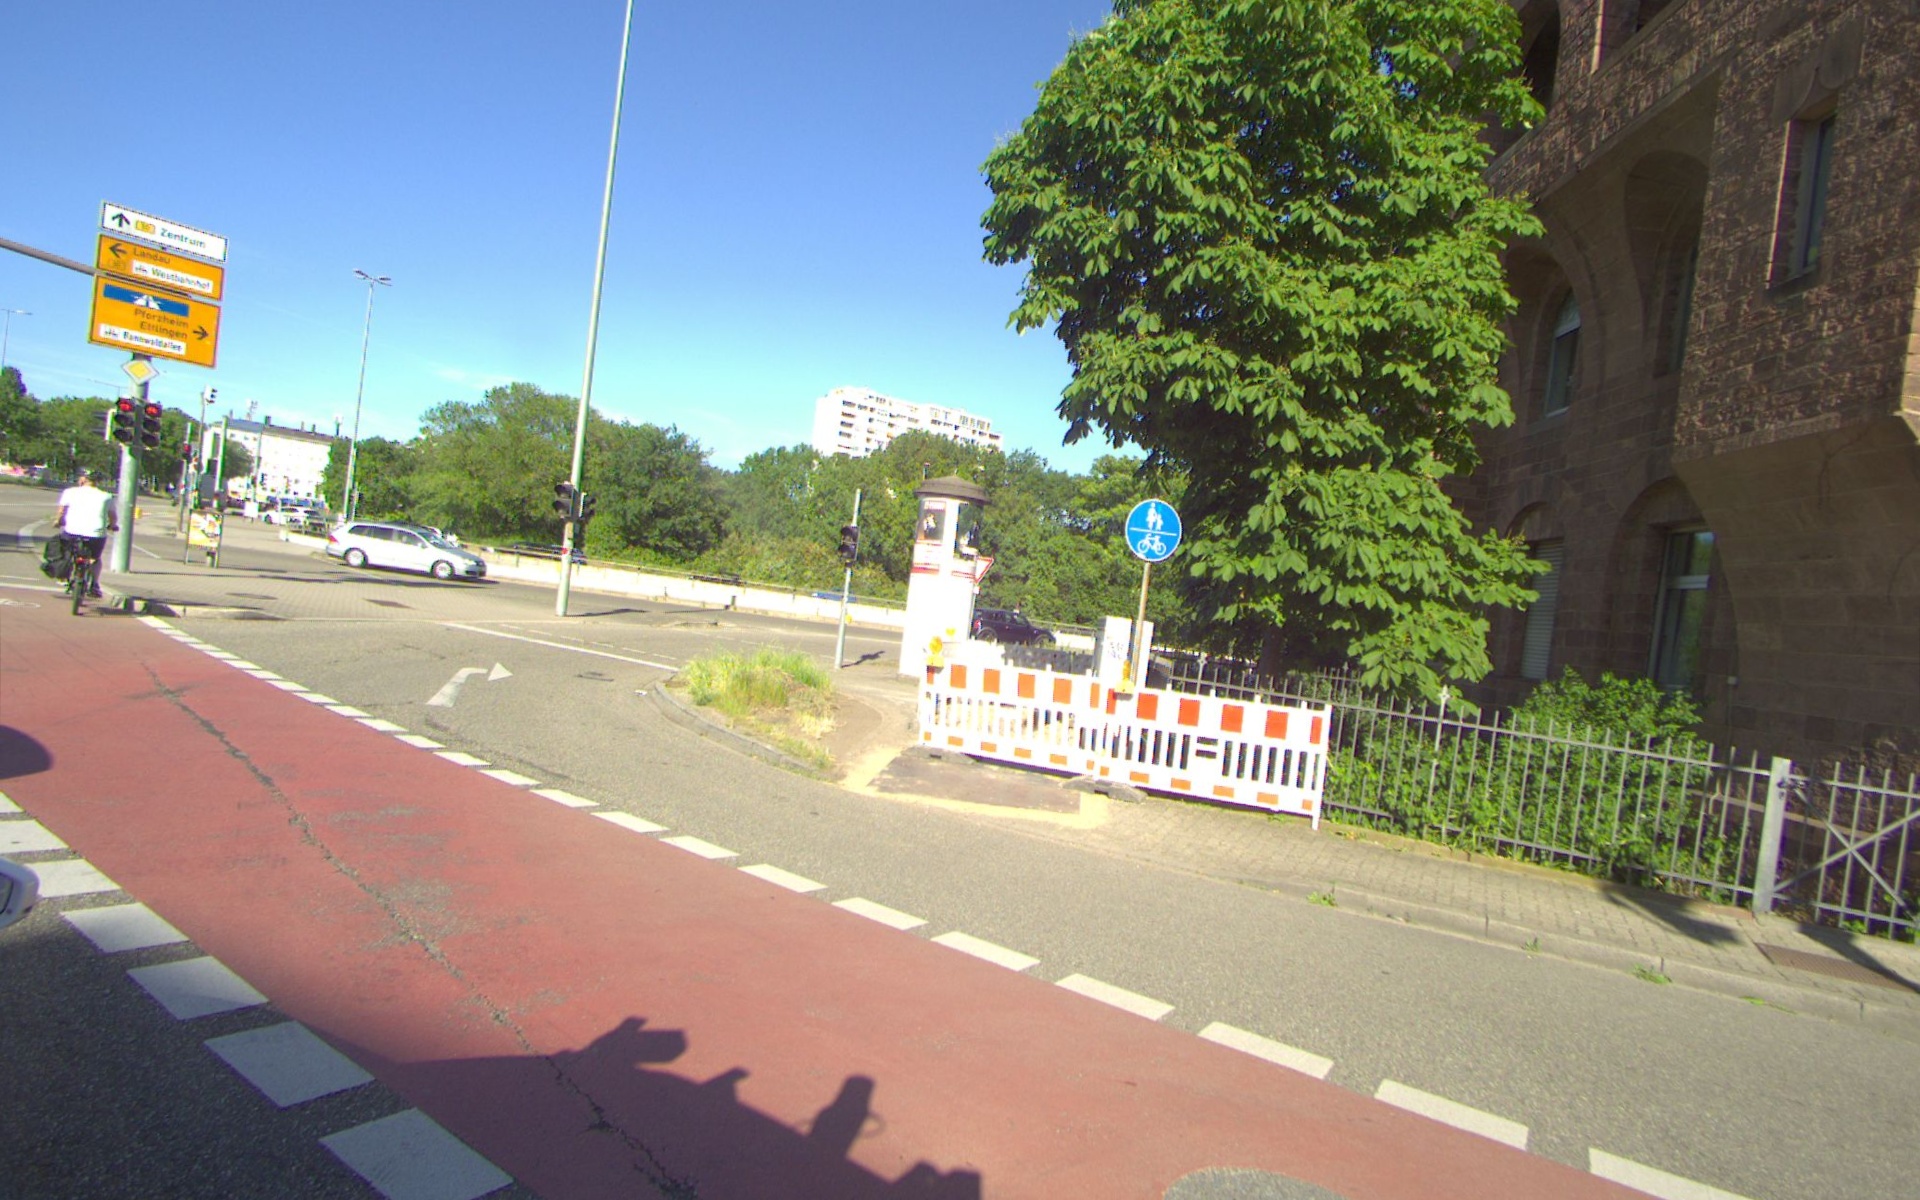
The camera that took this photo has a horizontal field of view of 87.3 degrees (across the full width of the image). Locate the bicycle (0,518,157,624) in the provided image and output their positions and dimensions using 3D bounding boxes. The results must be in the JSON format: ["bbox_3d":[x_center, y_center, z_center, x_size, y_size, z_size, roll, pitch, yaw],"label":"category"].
[{"bbox_3d":[-11.268,-0.386,12.852,0.792,1.124,2.389,9,0,-22],"label":"bicycle"}]

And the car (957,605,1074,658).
[{"bbox_3d":[2.139,1.213,38.994,3.943,1.472,1.990,7,1,-20],"label":"car"}]

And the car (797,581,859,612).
[{"bbox_3d":[-10.183,-0.227,77.491,4.202,1.876,2.010,7,-2,-22],"label":"car"}]

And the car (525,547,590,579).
[{"bbox_3d":[-28.099,-2.548,70.384,3.941,1.703,1.850,7,-2,-19],"label":"car"}]

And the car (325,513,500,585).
[{"bbox_3d":[-16.903,-1.548,31.250,4.277,1.512,1.753,9,1,-9],"label":"car"}]

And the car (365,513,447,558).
[{"bbox_3d":[-33.561,-3.886,61.085,3.943,2.037,1.992,7,-2,-20],"label":"car"}]

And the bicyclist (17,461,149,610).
[{"bbox_3d":[-11.246,-0.814,12.950,0.792,1.725,1.079,9,0,-22],"label":"bicyclist"}]

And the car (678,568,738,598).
[{"bbox_3d":[-18.550,-1.230,74.115,3.946,1.681,1.991,7,-2,-22],"label":"car"}]

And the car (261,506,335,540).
[{"bbox_3d":[-46.153,-5.383,70.146,3.923,1.770,2.002,6,-2,11],"label":"car"}]

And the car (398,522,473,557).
[{"bbox_3d":[-35.909,-4.115,68.988,3.928,1.770,2.000,6,-2,-4],"label":"car"}]

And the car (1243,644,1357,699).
[{"bbox_3d":[12.989,2.730,38.371,3.953,1.512,1.744,8,0,-27],"label":"car"}]

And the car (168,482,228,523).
[{"bbox_3d":[-57.446,-7.307,75.820,4.814,2.638,2.254,5,-2,38],"label":"car"}]
